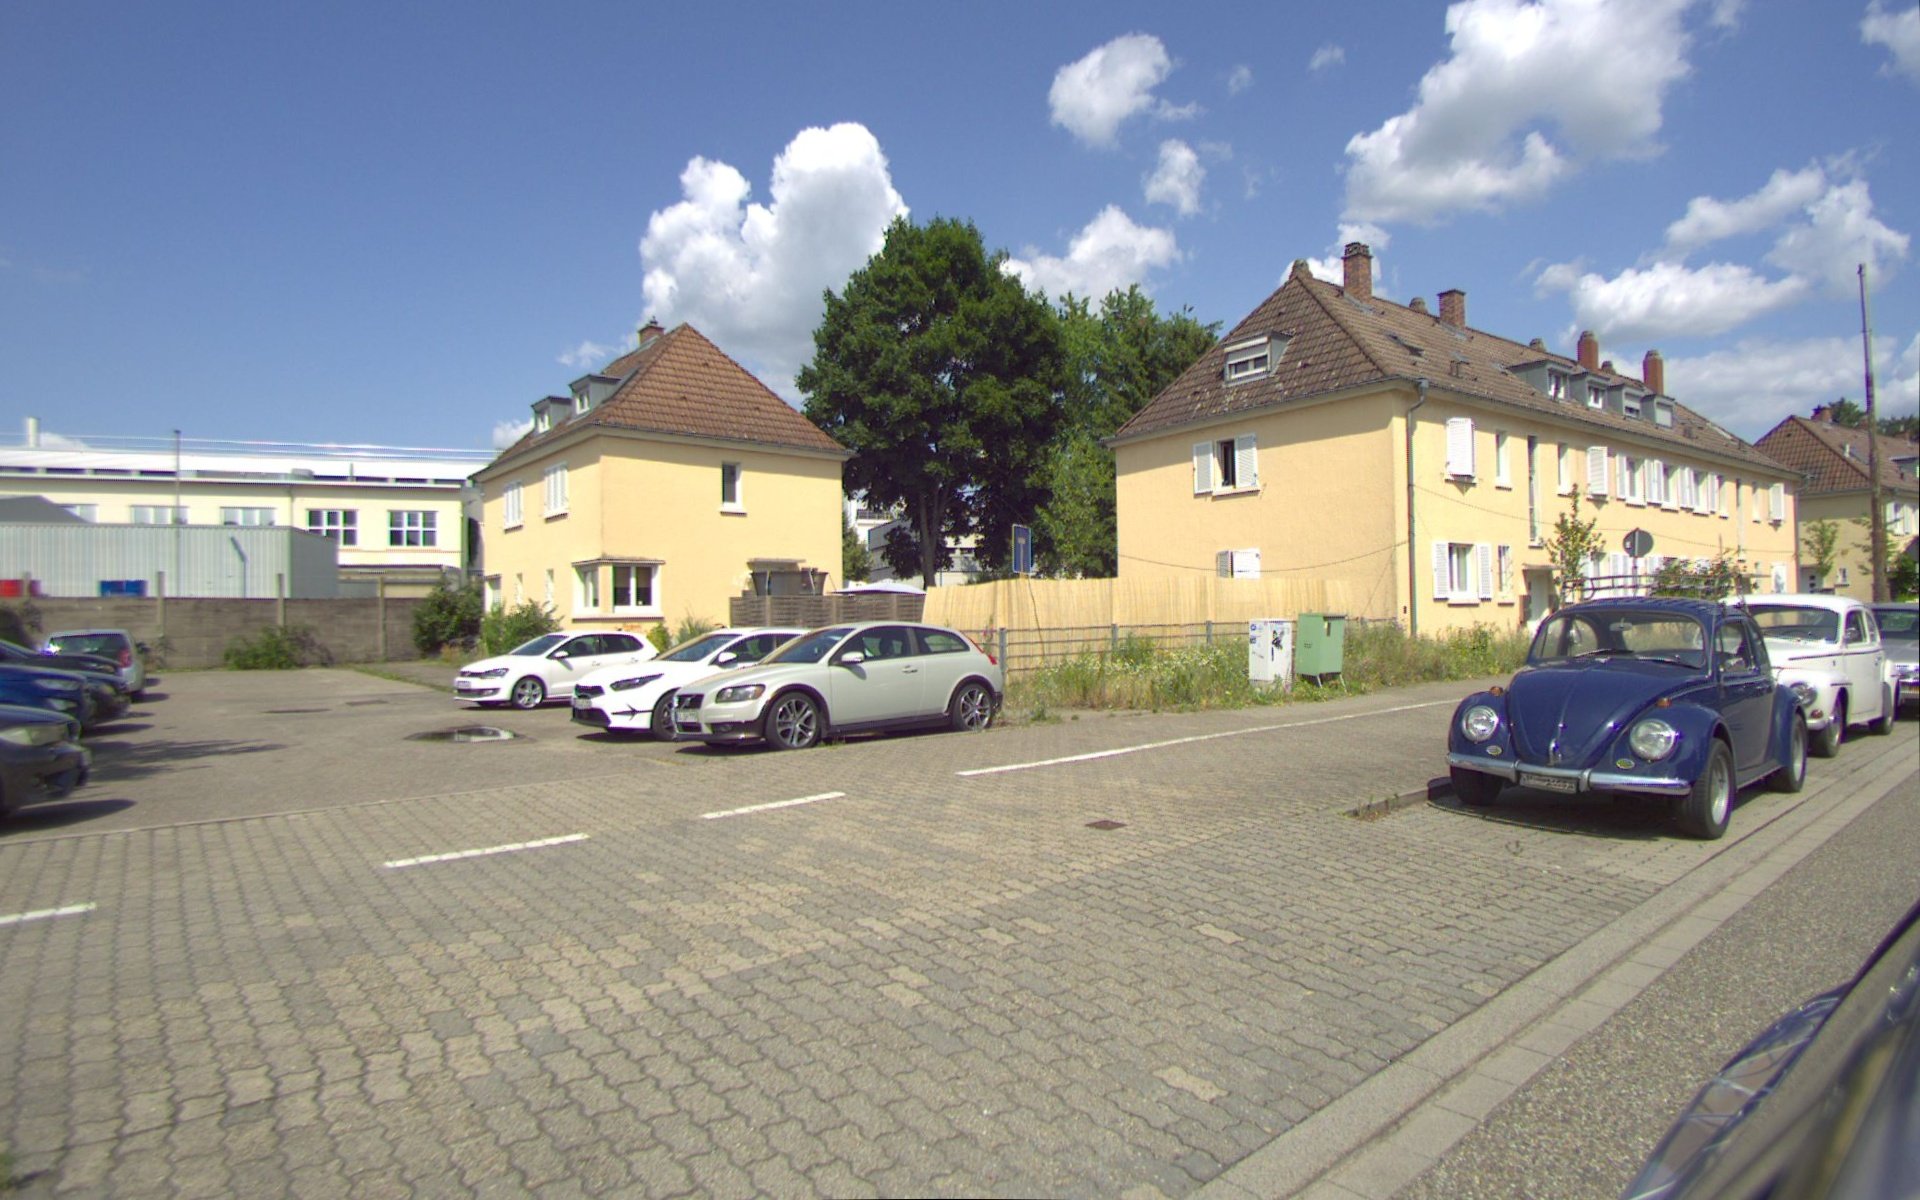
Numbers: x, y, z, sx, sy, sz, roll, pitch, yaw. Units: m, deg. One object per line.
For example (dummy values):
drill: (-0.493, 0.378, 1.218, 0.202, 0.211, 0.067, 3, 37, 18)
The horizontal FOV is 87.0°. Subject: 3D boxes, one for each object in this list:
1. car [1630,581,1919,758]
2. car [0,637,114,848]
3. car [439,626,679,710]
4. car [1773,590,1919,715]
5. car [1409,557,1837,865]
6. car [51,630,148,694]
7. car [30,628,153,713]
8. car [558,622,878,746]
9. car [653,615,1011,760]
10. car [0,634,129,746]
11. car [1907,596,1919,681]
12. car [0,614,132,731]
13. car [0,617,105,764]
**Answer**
car: (8.856, 0.608, 10.754, 4.378, 1.532, 1.581, 0, -1, -38)
car: (-8.178, 0.989, 6.539, 4.010, 1.372, 1.641, 0, -1, -35)
car: (-7.603, 1.244, 19.481, 1.632, 1.392, 4.030, -4, -3, 38)
car: (12.837, 0.620, 13.785, 4.747, 1.468, 1.710, 0, -1, -38)
car: (5.039, 0.605, 7.441, 4.173, 1.662, 1.551, 0, -1, -41)
car: (-21.791, 1.510, 25.753, 1.612, 1.382, 4.084, -3, 0, -37)
car: (-17.599, 1.356, 20.659, 1.612, 1.454, 4.084, -3, 0, -37)
car: (-3.219, 1.040, 13.939, 4.018, 1.391, 1.638, 0, -1, -43)
car: (-1.386, 0.899, 11.996, 4.018, 1.391, 1.638, 0, -1, -43)
car: (-13.755, 1.243, 13.567, 4.015, 1.419, 1.639, -1, -1, -39)
car: (18.691, 0.648, 18.337, 4.372, 1.468, 1.581, 0, -1, -38)
car: (-15.420, 1.169, 15.614, 4.016, 1.685, 1.639, -3, 0, -39)
car: (-12.187, 1.031, 11.277, 4.014, 1.566, 1.640, 0, 2, -39)
